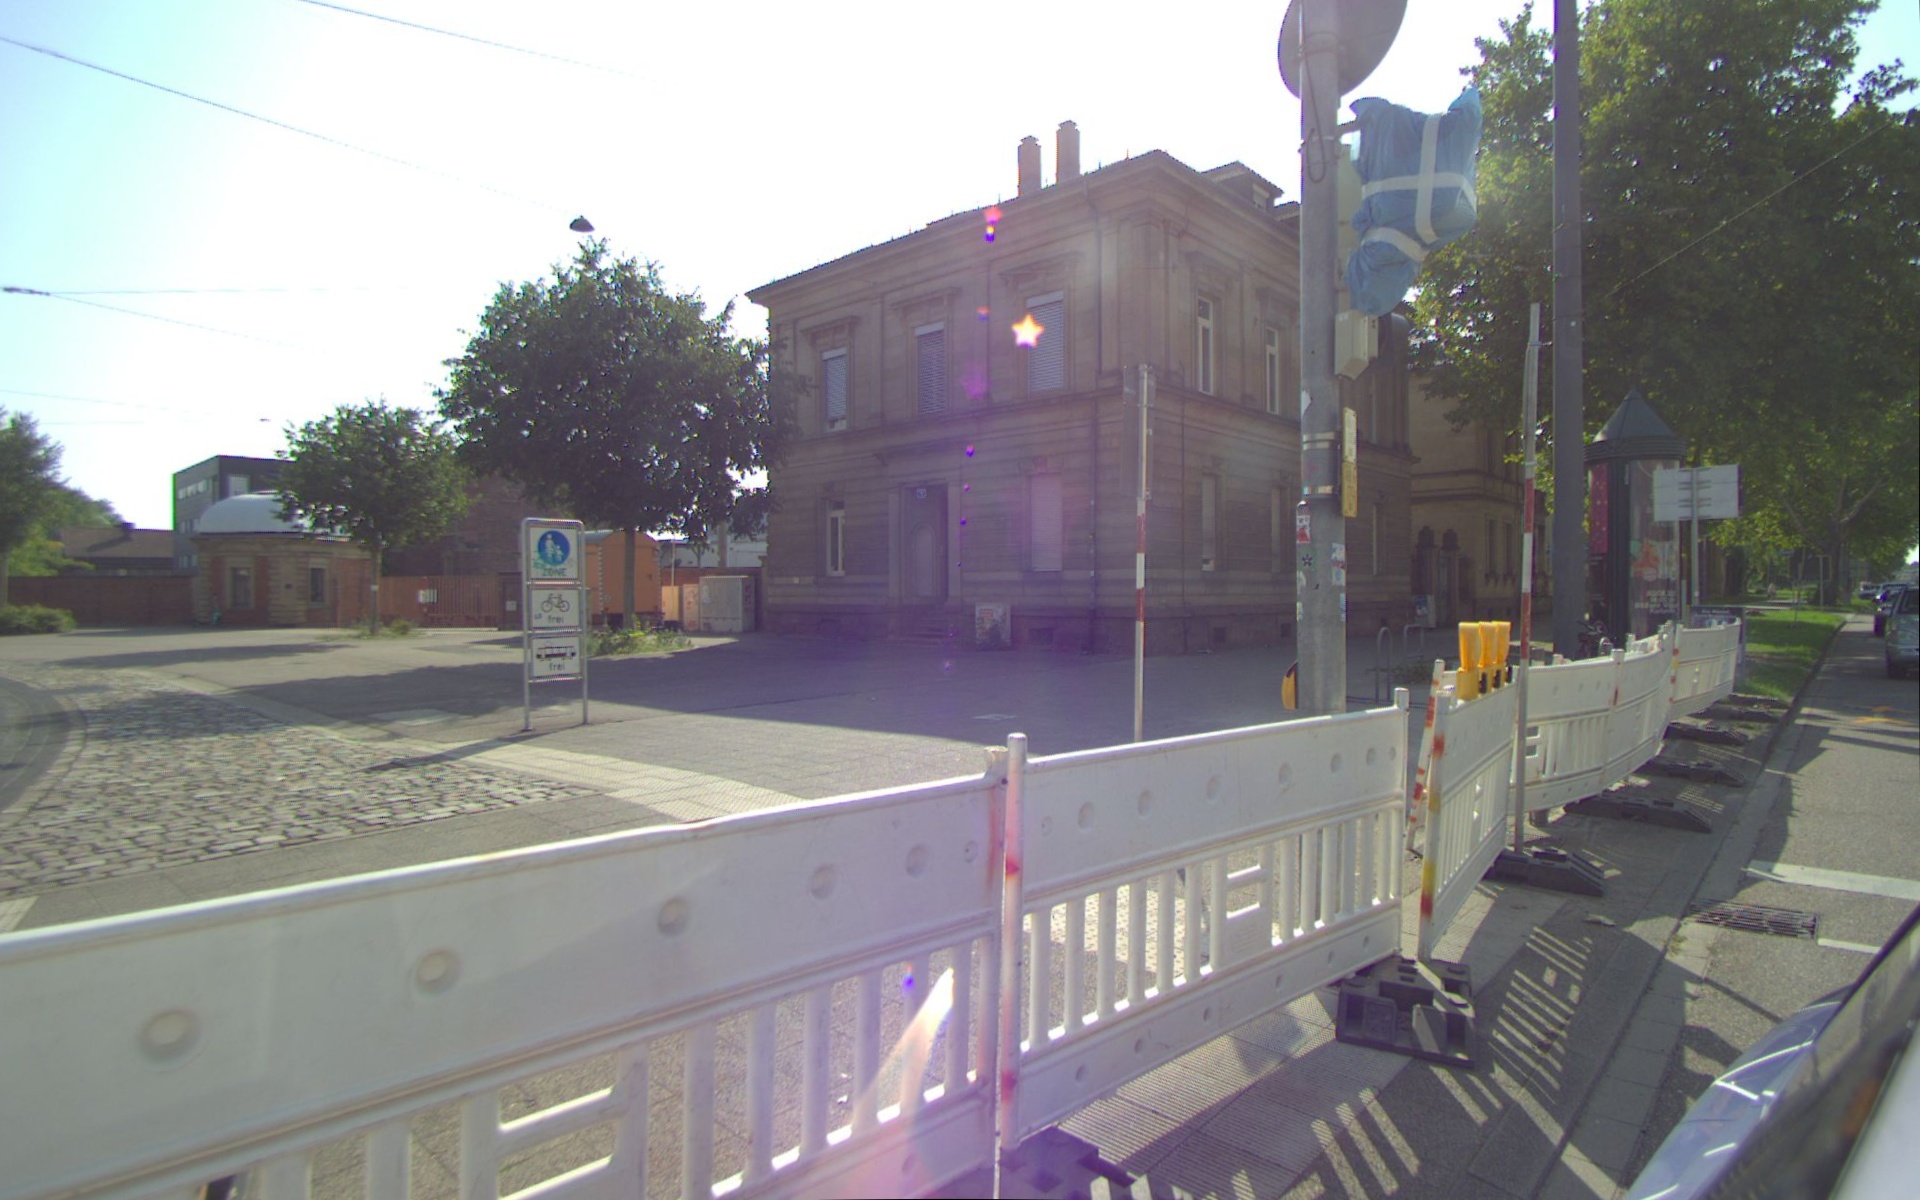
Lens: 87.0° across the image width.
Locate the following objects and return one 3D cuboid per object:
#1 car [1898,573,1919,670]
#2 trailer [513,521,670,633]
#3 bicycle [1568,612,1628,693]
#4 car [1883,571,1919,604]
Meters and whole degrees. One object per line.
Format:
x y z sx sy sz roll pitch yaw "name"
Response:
19.197 0.345 19.190 1.993 1.716 5.146 1 2 42 "car"
-11.049 -0.705 30.353 3.973 3.106 2.527 0 3 35 "trailer"
8.570 0.682 13.570 0.410 0.999 1.354 0 1 44 "bicycle"
51.368 -0.679 54.757 1.992 1.717 5.147 1 1 41 "car"
